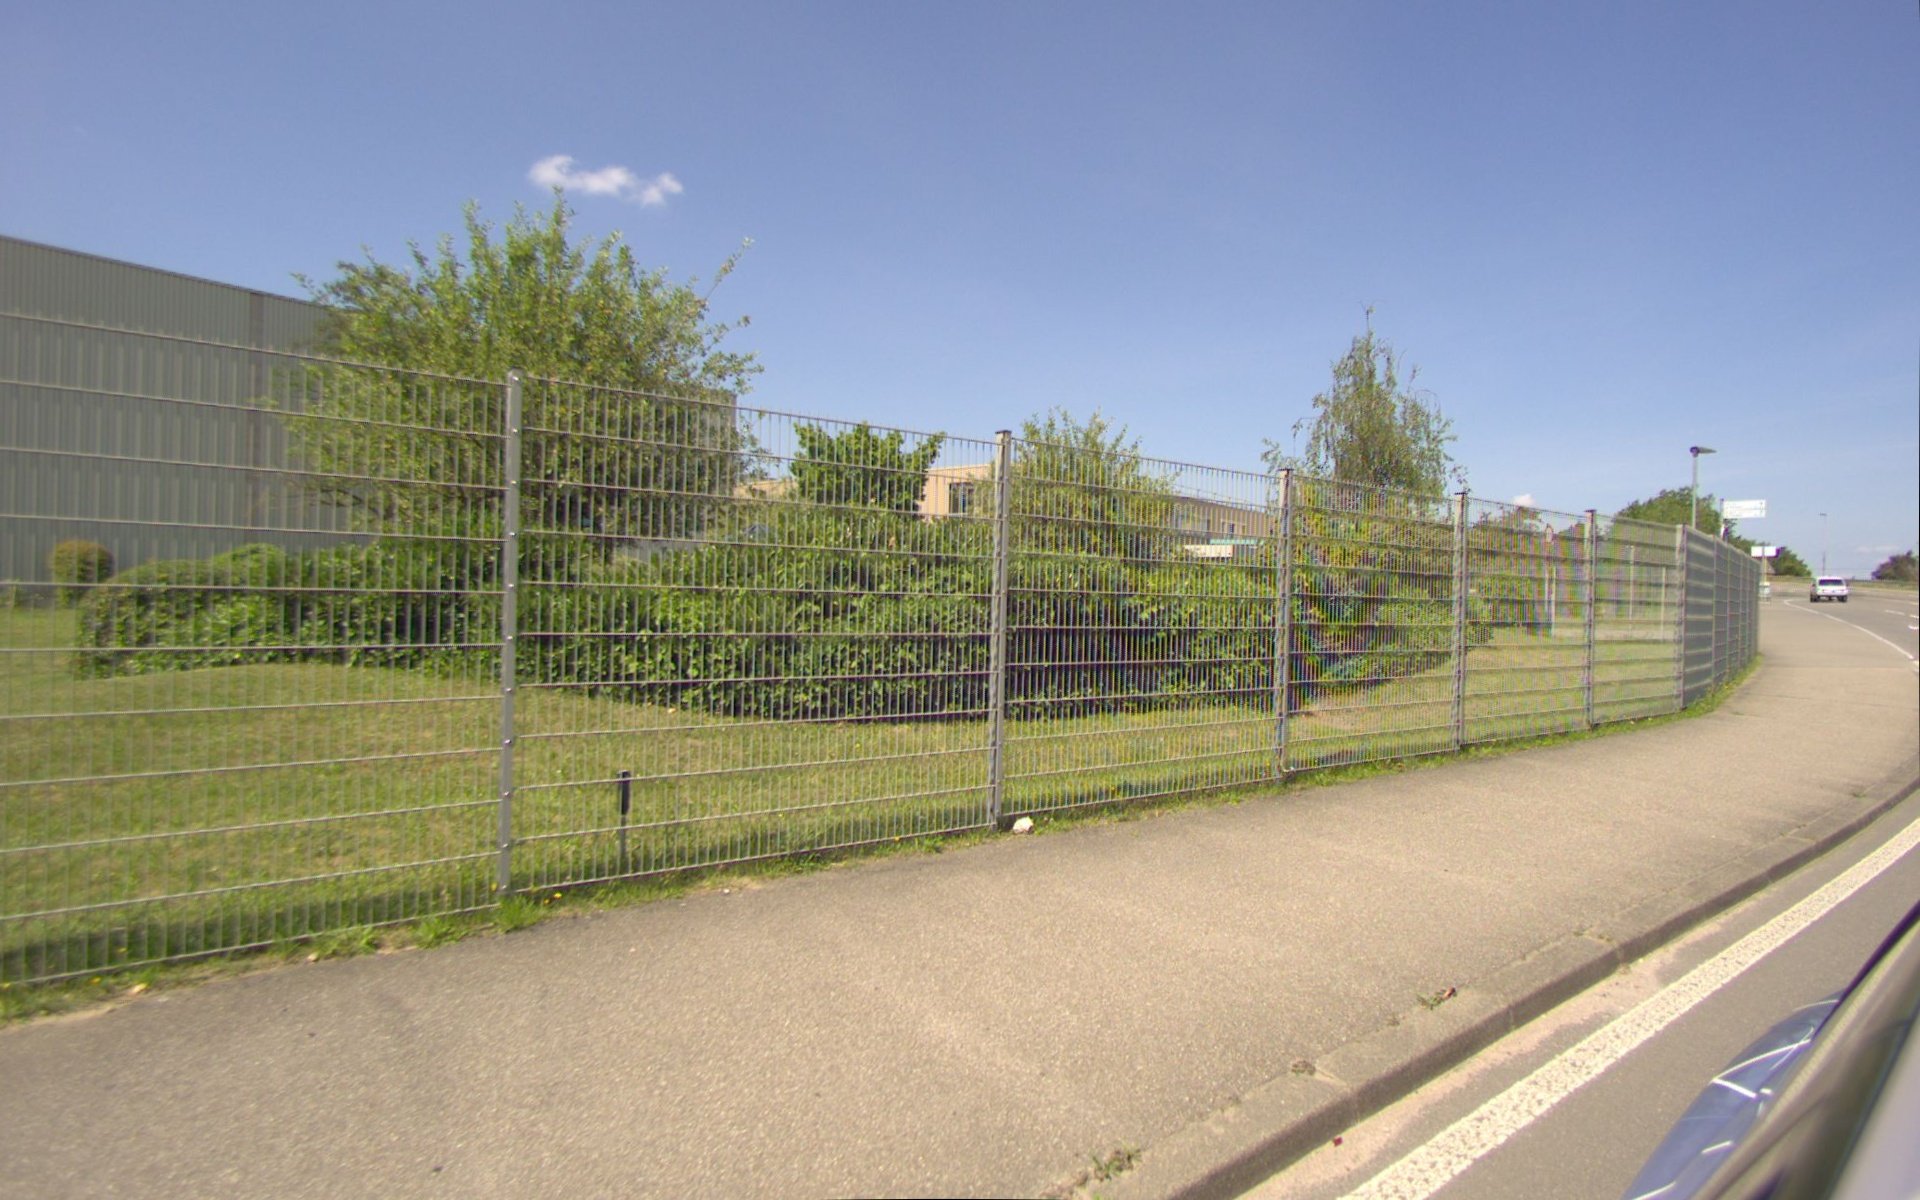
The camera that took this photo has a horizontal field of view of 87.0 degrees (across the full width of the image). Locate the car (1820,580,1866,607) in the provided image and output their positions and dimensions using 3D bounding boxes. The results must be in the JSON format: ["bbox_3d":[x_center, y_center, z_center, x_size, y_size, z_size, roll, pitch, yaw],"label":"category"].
[{"bbox_3d":[65.625,-0.507,75.256,1.986,1.939,3.953,1,1,33],"label":"car"}]

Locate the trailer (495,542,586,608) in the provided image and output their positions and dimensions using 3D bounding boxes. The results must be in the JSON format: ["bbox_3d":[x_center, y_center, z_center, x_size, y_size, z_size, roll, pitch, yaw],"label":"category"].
[{"bbox_3d":[-18.633,-1.087,44.751,1.965,2.755,5.980,1,1,-40],"label":"trailer"}]
